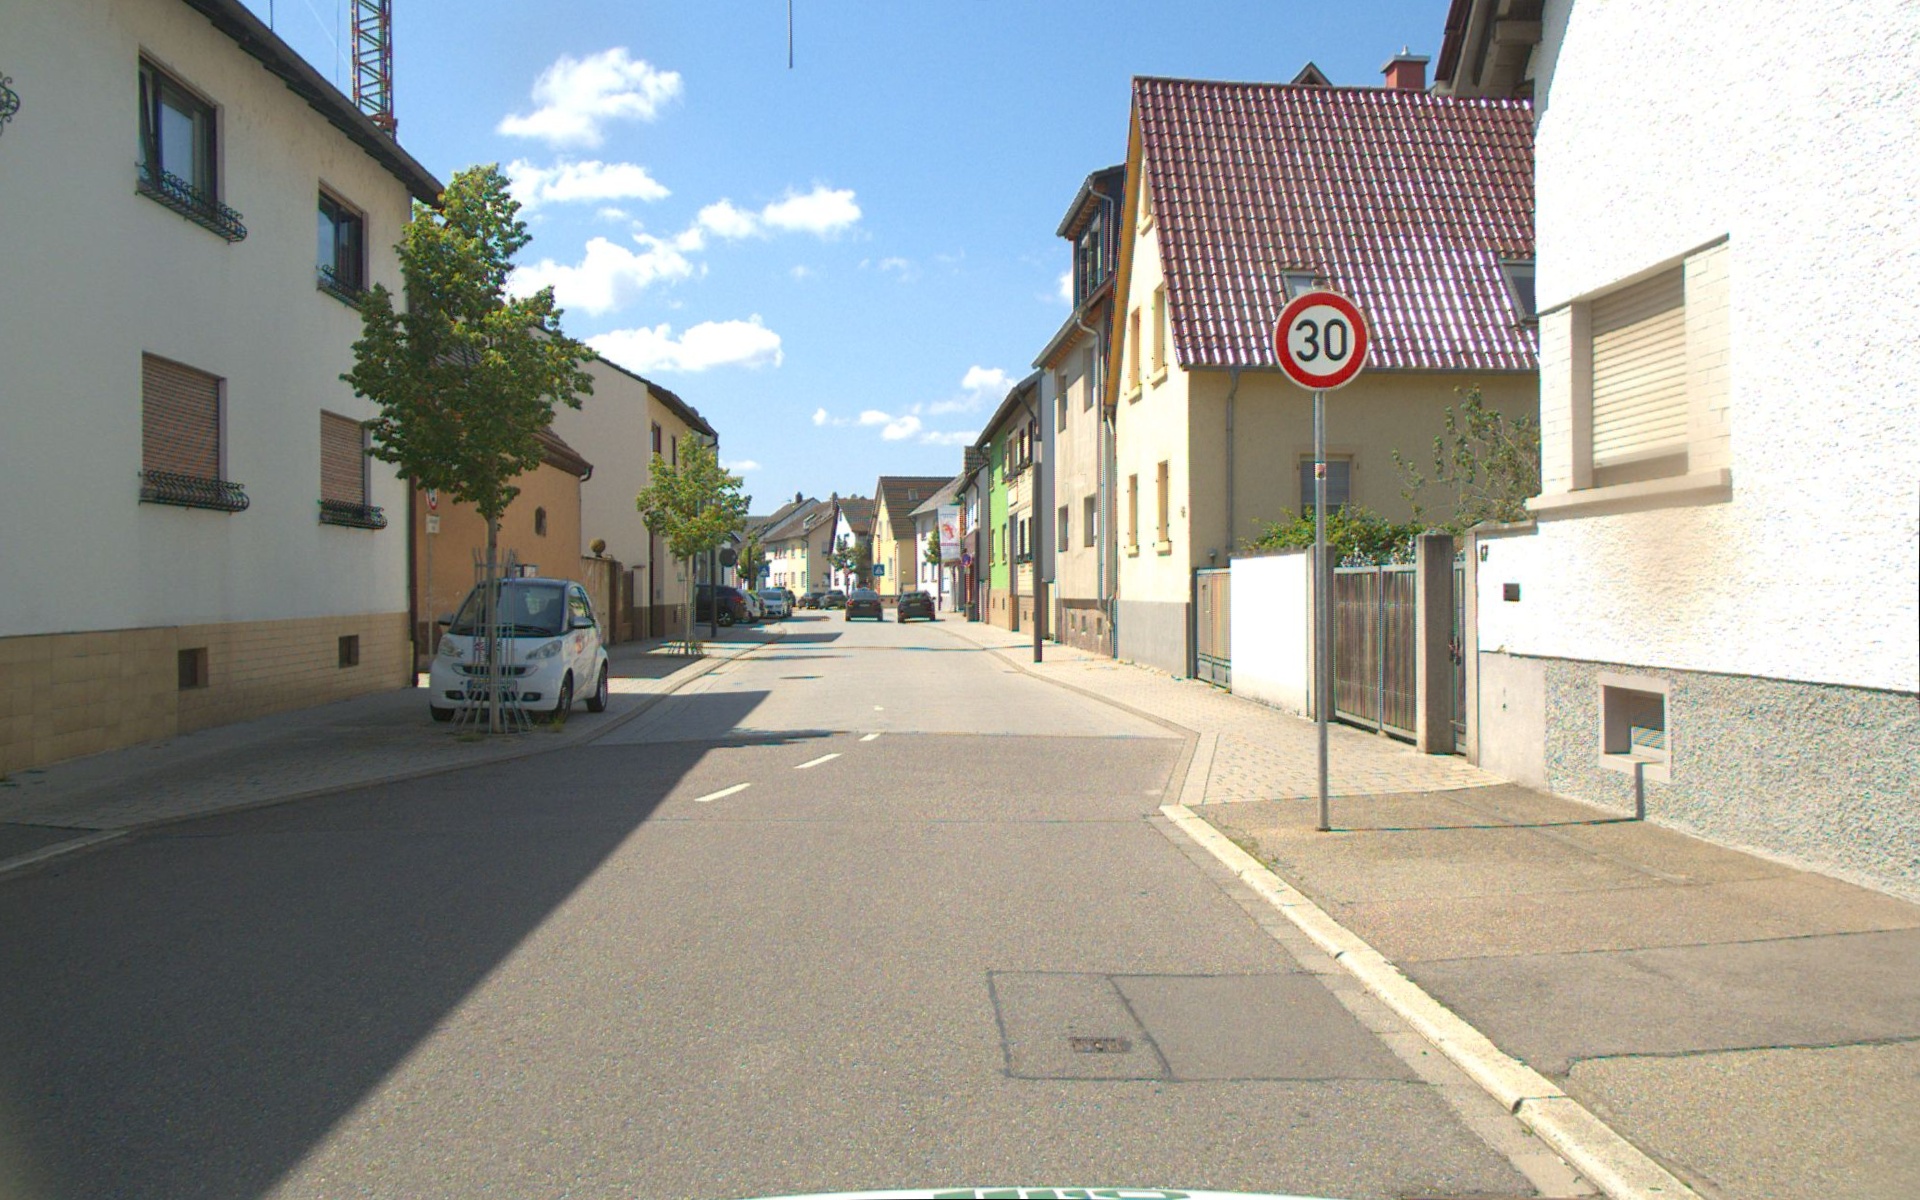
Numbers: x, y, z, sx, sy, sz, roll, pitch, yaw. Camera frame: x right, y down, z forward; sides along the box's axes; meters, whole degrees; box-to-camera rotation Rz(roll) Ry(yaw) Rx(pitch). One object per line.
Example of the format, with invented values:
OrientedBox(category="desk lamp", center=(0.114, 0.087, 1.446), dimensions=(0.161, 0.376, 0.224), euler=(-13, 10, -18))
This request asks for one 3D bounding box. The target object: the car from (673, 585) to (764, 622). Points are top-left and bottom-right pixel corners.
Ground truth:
OrientedBox(category="car", center=(-10.907, 0.165, 74.790), dimensions=(3.822, 1.528, 1.750), euler=(2, 0, -2))

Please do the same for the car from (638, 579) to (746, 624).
OrientedBox(category="car", center=(-10.801, 0.057, 66.840), dimensions=(4.136, 1.687, 1.783), euler=(2, 0, -4))

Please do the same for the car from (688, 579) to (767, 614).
OrientedBox(category="car", center=(-11.225, -0.170, 80.052), dimensions=(3.618, 1.552, 1.672), euler=(2, 0, -3))

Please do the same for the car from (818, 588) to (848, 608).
OrientedBox(category="car", center=(-10.444, -0.140, 135.621), dimensions=(1.816, 1.590, 3.679), euler=(-1, 1, -15))

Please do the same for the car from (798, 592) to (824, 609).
OrientedBox(category="car", center=(-12.919, 0.045, 143.102), dimensions=(1.682, 1.411, 3.691), euler=(-1, 1, -15))

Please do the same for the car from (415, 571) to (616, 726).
OrientedBox(category="car", center=(-4.957, 0.503, 18.780), dimensions=(1.541, 1.588, 2.821), euler=(2, 0, -2))

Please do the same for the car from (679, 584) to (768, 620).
OrientedBox(category="car", center=(-10.991, 0.090, 77.081), dimensions=(3.908, 1.467, 1.690), euler=(2, 0, -3))

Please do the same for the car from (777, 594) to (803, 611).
OrientedBox(category="car", center=(-16.093, 0.223, 156.204), dimensions=(1.846, 1.619, 3.984), euler=(-1, 1, -15))

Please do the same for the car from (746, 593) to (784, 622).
OrientedBox(category="car", center=(-10.340, 0.400, 88.106), dimensions=(1.723, 1.435, 3.875), euler=(1, 0, -3))

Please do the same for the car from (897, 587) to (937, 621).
OrientedBox(category="car", center=(-2.075, 0.171, 79.615), dimensions=(1.820, 1.484, 4.585), euler=(-3, 0, -1))

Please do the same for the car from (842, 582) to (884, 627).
OrientedBox(category="car", center=(-4.765, 0.178, 80.828), dimensions=(1.954, 2.093, 4.371), euler=(-1, 1, -4))
